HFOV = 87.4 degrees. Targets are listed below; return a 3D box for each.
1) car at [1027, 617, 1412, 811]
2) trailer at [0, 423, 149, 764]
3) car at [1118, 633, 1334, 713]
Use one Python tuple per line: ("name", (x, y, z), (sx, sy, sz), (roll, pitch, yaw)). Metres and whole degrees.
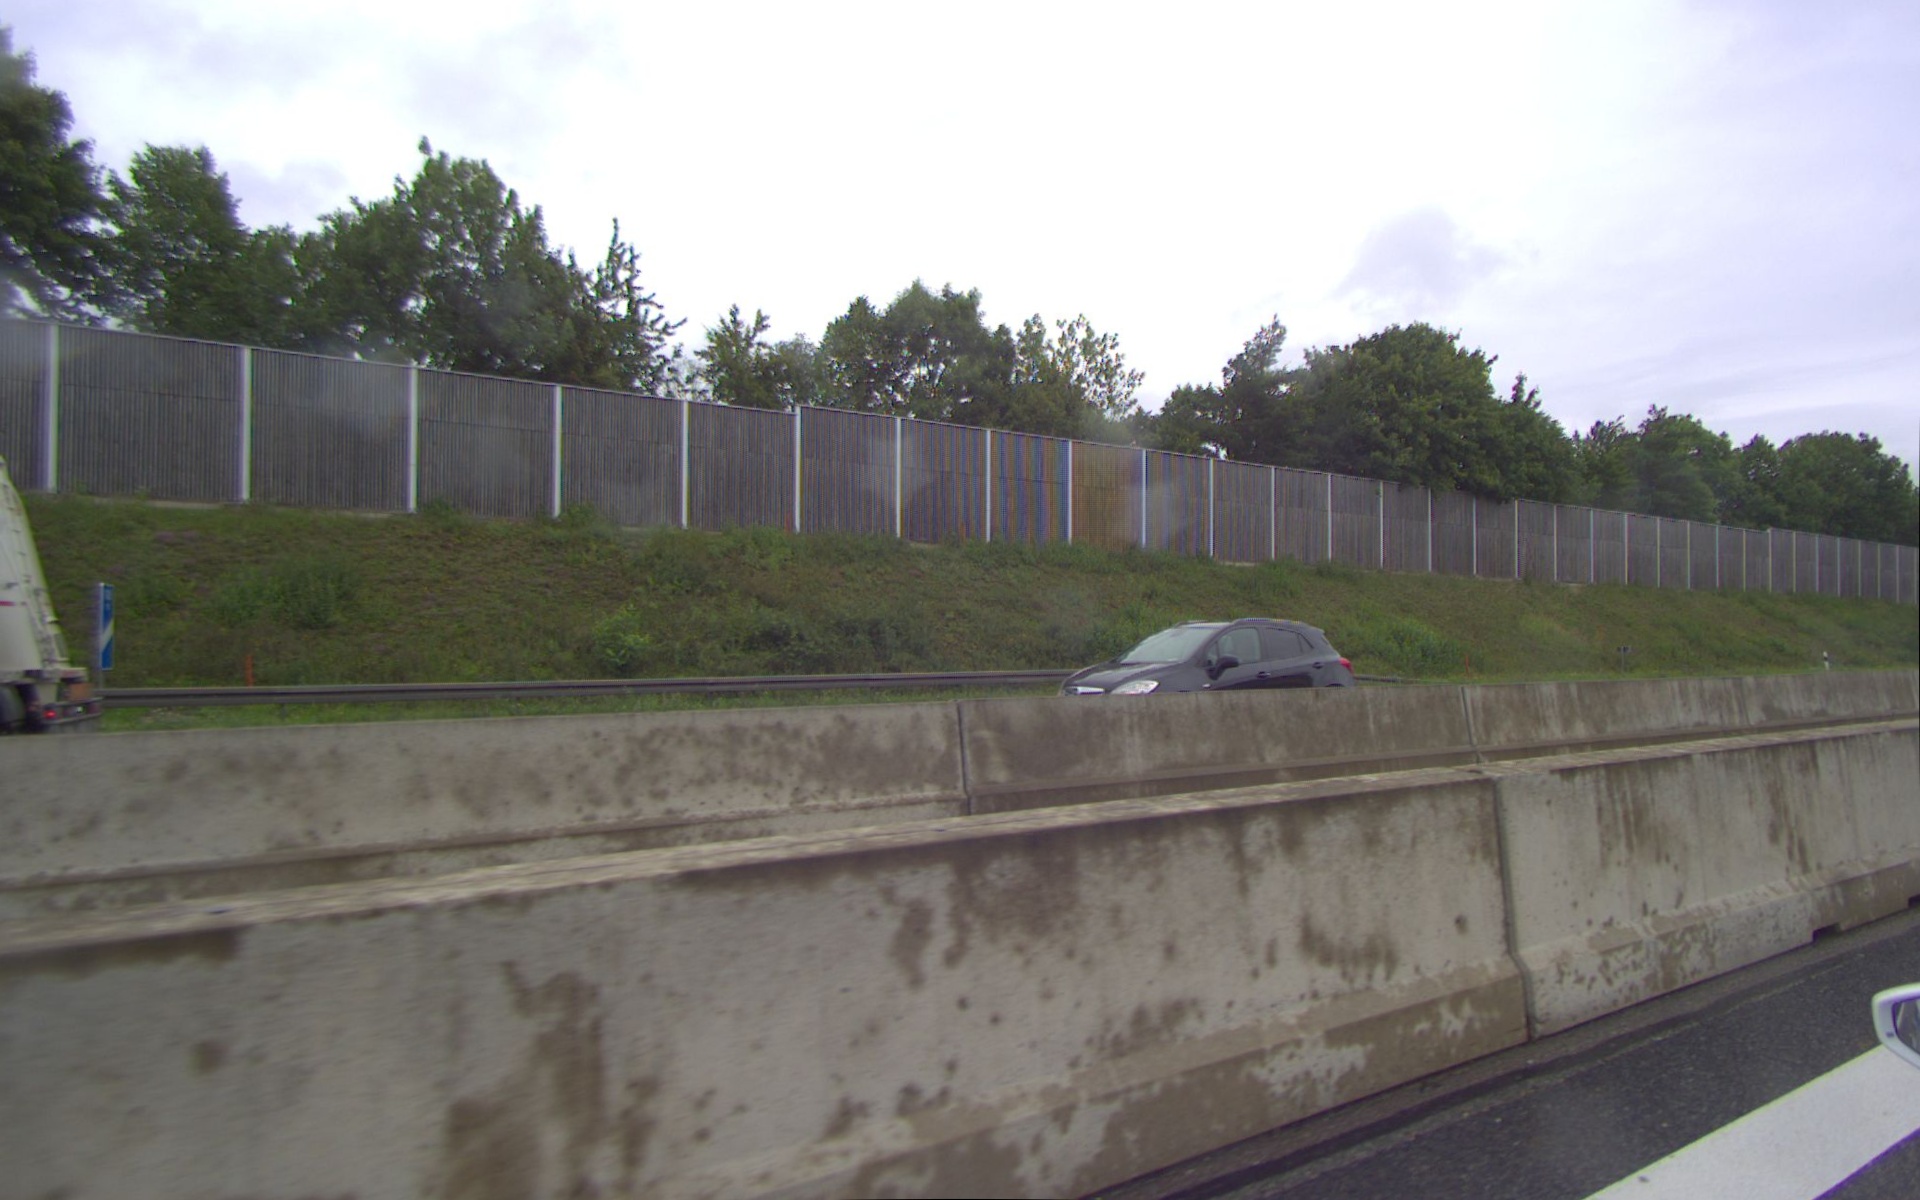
("car", (3.339, 1.272, 12.693), (4.713, 2.040, 1.984), (1, -2, -30))
("trailer", (-15.644, -0.124, 10.632), (10.521, 3.973, 2.699), (2, -4, -31))
("car", (6.181, 1.613, 23.189), (4.902, 1.665, 1.984), (1, -2, -30))
